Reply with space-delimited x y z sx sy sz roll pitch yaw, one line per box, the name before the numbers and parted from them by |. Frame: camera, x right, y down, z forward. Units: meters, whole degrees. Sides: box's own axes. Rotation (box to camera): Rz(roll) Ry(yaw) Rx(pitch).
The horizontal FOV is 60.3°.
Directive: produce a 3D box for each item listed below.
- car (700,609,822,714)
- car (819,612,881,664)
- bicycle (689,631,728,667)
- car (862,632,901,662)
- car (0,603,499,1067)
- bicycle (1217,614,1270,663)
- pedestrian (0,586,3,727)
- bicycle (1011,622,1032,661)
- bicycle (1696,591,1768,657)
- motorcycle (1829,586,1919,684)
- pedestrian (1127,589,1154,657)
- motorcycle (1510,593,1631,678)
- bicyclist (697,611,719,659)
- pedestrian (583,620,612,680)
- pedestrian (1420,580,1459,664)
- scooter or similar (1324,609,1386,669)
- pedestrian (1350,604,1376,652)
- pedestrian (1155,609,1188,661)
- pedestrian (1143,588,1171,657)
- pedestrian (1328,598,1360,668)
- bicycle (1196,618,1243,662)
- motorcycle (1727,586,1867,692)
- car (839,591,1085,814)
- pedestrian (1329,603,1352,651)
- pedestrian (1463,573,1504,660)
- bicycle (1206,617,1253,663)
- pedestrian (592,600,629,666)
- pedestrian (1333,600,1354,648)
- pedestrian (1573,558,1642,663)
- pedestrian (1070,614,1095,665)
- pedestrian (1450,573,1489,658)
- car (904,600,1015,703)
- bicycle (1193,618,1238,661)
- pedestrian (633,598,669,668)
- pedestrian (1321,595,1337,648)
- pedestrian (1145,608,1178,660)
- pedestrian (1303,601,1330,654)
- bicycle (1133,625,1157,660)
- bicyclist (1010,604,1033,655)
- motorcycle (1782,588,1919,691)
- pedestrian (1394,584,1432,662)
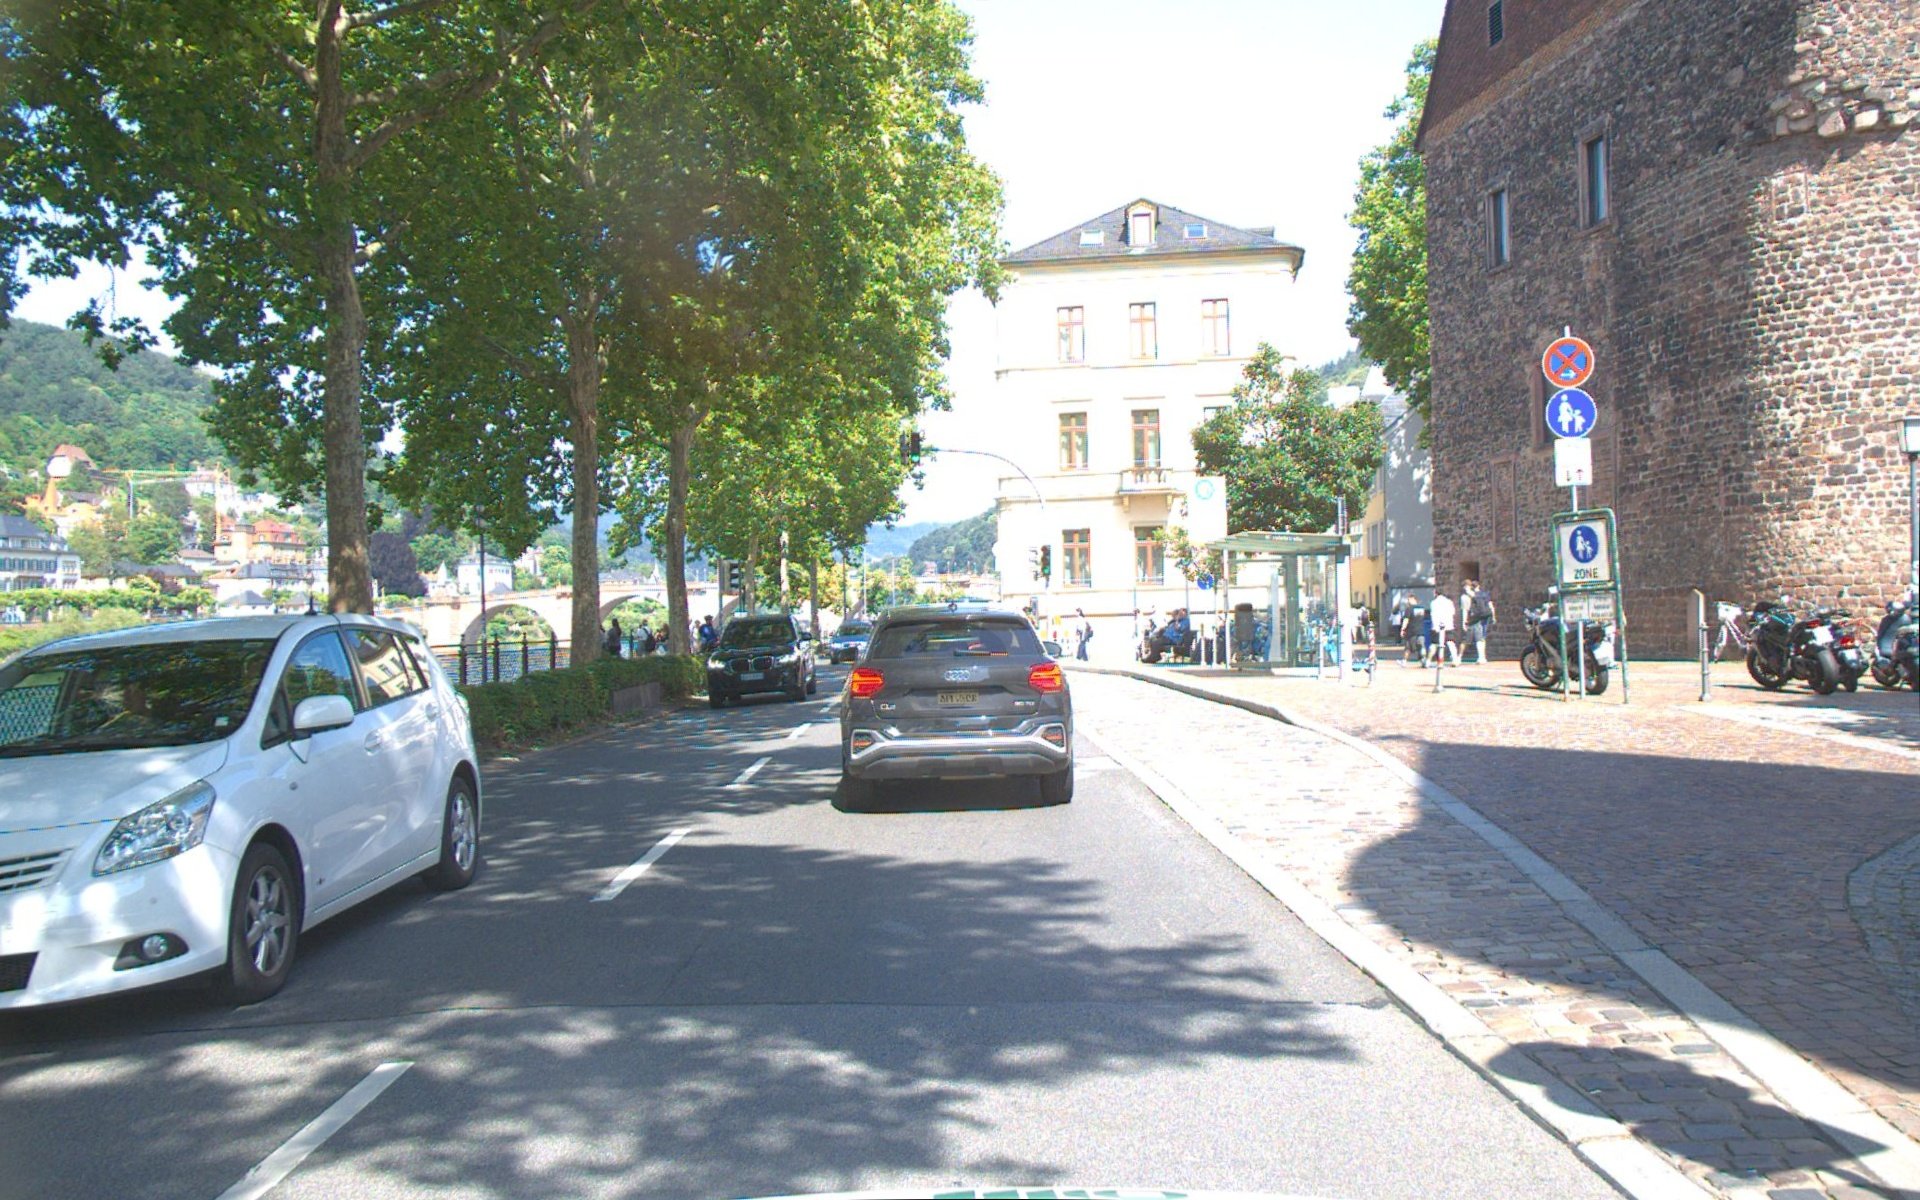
car | -3.874 1.155 32.873 1.777 1.754 4.420 -7 0 -1
car | -3.997 1.393 60.595 1.952 1.838 4.000 0 -1 1
bicycle | -7.140 1.400 46.962 1.072 1.024 0.303 0 -2 -8
car | -4.421 2.636 93.655 1.952 1.654 4.000 0 -1 1
car | -3.669 0.893 7.930 1.704 1.599 4.091 -5 0 -1
bicycle | 6.597 0.898 38.438 1.284 1.147 0.178 1 -2 -20
pedestrian | -7.399 0.854 12.081 0.523 1.920 0.436 1 -1 -1
bicycle | 1.793 1.207 48.389 0.428 1.105 1.675 1 -1 -5
bicycle | 14.951 0.470 32.081 0.381 1.231 1.715 1 -1 -9
motorcycle | 12.429 0.472 22.092 0.535 1.257 2.030 0 -1 -1
pedestrian | 5.521 0.709 50.626 0.626 2.049 0.664 0 -2 29
motorcycle | 7.861 0.444 21.433 0.555 1.030 2.489 -1 -1 -2
bicyclist | -7.162 0.991 47.004 0.555 1.334 0.551 1 -2 -5
pedestrian | -10.021 1.374 45.722 0.611 1.647 0.586 0 -2 3
pedestrian | 11.083 0.504 38.245 0.655 1.917 0.820 0 -2 -2
scooter or similar | 7.274 0.713 30.483 1.067 1.084 0.323 1 -2 -3
pedestrian | 17.256 1.191 70.897 0.921 2.049 0.807 0 -2 0
pedestrian | 5.045 0.829 39.446 0.651 1.233 0.640 1 -2 -7
pedestrian | 5.954 0.681 49.912 0.626 2.049 0.664 0 -2 29
pedestrian | 7.808 0.680 33.636 0.546 1.409 0.588 0 -2 2
bicycle | 6.272 0.976 39.909 1.184 1.053 0.178 1 -2 -20
motorcycle | 10.720 0.499 21.280 0.642 1.288 2.199 -1 -1 -1
car | -0.007 0.737 13.538 1.707 1.535 3.646 -1 0 -1
pedestrian | 16.291 1.173 70.862 0.822 2.049 0.738 0 -2 0
pedestrian | 12.530 0.396 39.611 0.715 2.049 0.878 0 -2 -1
bicycle | 6.381 0.943 39.129 1.140 1.089 0.178 1 -2 -20
pedestrian | -9.890 0.932 46.838 0.891 1.843 0.586 0 -2 3
pedestrian | 12.473 0.777 53.777 0.609 1.559 0.466 0 -2 2
pedestrian | 12.545 0.204 32.047 0.821 1.983 0.903 -1 -1 -38
pedestrian | 3.651 1.173 49.304 0.679 1.527 0.513 1 -2 -5
pedestrian | 11.923 0.373 38.726 0.655 1.954 0.820 0 -2 -2
car | -0.030 0.846 28.151 1.756 1.623 3.398 1 -1 -1
bicycle | 6.281 0.973 40.627 1.166 1.033 0.178 1 -2 -20
pedestrian | -9.144 0.970 48.980 0.891 2.049 0.586 0 -2 3
pedestrian | 12.005 0.709 53.789 0.440 1.710 0.466 0 -2 3
pedestrian | 4.901 0.820 40.217 0.651 1.253 0.640 1 -2 -7
pedestrian | 14.130 1.093 65.572 0.925 2.049 0.807 0 -2 0
bicycle | 5.243 1.195 46.946 0.293 0.980 1.184 1 -2 -13
bicyclist | 1.790 0.874 48.431 0.593 1.475 0.590 1 -2 -6
motorcycle | 11.604 0.510 21.508 0.661 1.257 2.312 0 -1 -1
pedestrian | 10.822 0.544 39.562 0.639 1.834 0.847 0 -1 -2
